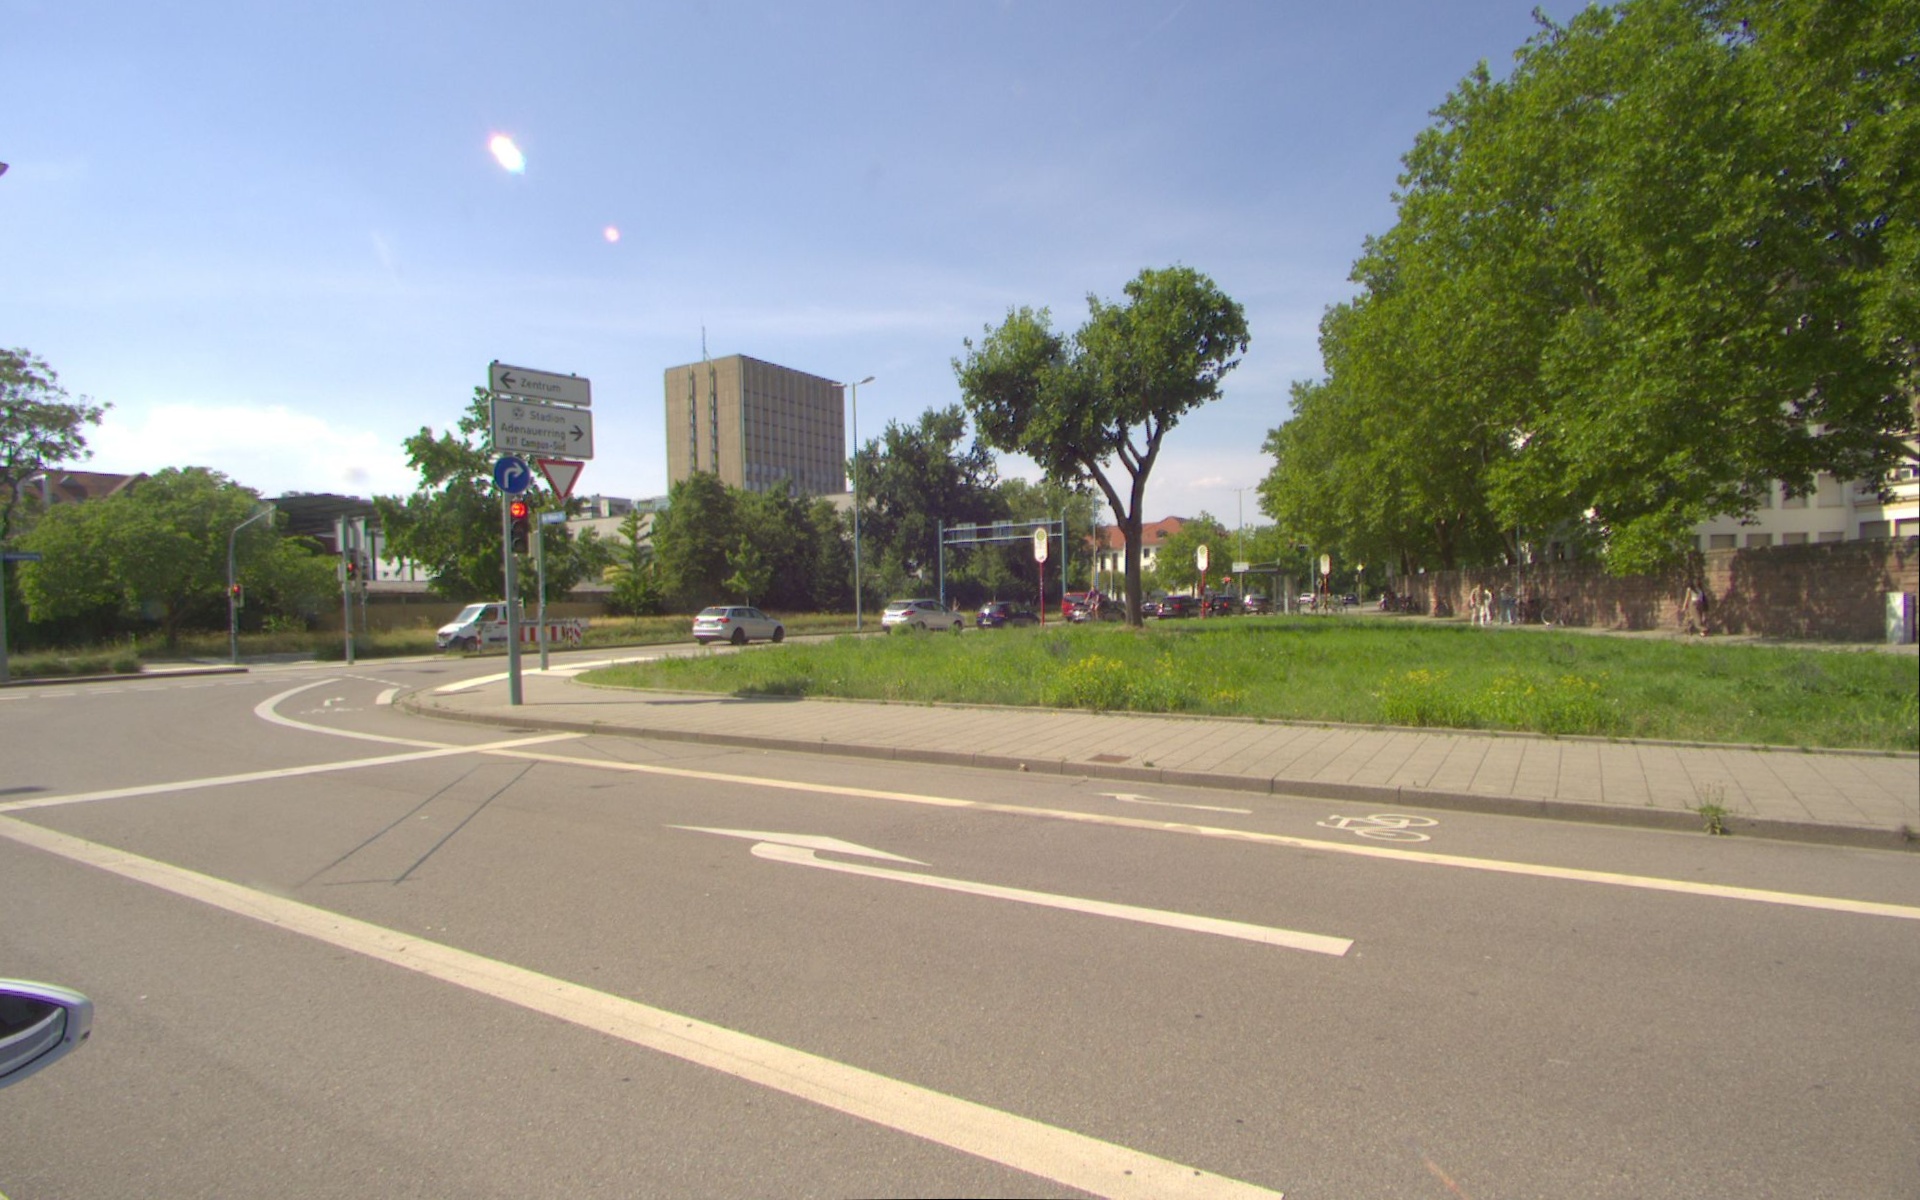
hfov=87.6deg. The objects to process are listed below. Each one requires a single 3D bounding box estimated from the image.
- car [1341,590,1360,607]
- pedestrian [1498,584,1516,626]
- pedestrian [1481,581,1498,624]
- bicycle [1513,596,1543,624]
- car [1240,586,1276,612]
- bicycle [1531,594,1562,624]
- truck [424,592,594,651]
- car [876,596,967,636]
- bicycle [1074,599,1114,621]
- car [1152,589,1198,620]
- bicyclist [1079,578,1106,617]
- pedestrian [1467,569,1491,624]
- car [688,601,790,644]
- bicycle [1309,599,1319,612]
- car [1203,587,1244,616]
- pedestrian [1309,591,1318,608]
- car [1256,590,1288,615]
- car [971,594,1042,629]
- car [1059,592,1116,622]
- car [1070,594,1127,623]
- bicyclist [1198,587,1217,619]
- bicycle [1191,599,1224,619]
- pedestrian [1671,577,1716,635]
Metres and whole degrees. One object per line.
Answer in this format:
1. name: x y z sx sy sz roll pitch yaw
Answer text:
1. car: 50.529 -0.234 129.584 1.968 2.039 3.987 -1 -2 26
2. pedestrian: 20.929 0.188 38.344 0.515 1.599 0.701 -1 1 23
3. pedestrian: 20.292 0.091 38.386 0.515 1.599 0.701 -1 1 23
4. bicycle: 21.825 0.388 38.500 0.439 1.047 1.447 -1 1 6
5. car: 24.479 -0.071 82.246 1.970 2.041 3.980 -1 1 30
6. bicycle: 21.648 0.318 36.973 0.439 1.047 1.447 -1 1 6
7. truck: -20.758 0.930 46.523 2.380 2.386 7.007 -3 0 33
8. car: -1.676 0.683 44.997 1.691 1.640 4.183 -1 1 40
9. bicycle: 5.851 0.438 43.617 1.912 0.899 0.679 -2 1 -42
10. car: 14.674 0.288 68.209 1.970 2.041 3.980 -1 1 30
11. bicyclist: 5.764 -0.089 43.583 1.068 1.659 0.486 -1 1 29
12. pedestrian: 19.440 -0.142 37.533 0.513 2.040 0.596 -2 1 -9
13. car: -8.193 0.819 37.479 1.558 1.439 4.158 -1 1 24
14. bicycle: 30.626 0.481 86.693 0.552 1.066 1.318 -1 1 30
15. car: 19.712 0.090 74.872 1.970 2.041 3.980 -1 1 30
16. pedestrian: 30.609 -0.022 86.677 0.552 1.458 0.729 0 1 30
17. car: 27.491 0.220 88.163 1.970 2.039 3.984 -1 -2 29
18. car: 2.363 0.545 50.185 1.564 1.612 3.971 -1 1 38
19. car: 8.266 0.436 64.669 1.950 1.821 4.587 -1 1 31
20. car: 8.152 0.480 58.784 1.564 1.612 3.972 -1 1 37
21. bicyclist: 16.647 0.215 67.251 0.769 2.039 1.265 -1 -2 38
22. bicycle: 16.612 0.600 67.173 0.838 1.233 3.462 -1 -2 37
23. pedestrian: 20.147 0.161 27.514 0.493 1.569 0.913 -1 1 -4
